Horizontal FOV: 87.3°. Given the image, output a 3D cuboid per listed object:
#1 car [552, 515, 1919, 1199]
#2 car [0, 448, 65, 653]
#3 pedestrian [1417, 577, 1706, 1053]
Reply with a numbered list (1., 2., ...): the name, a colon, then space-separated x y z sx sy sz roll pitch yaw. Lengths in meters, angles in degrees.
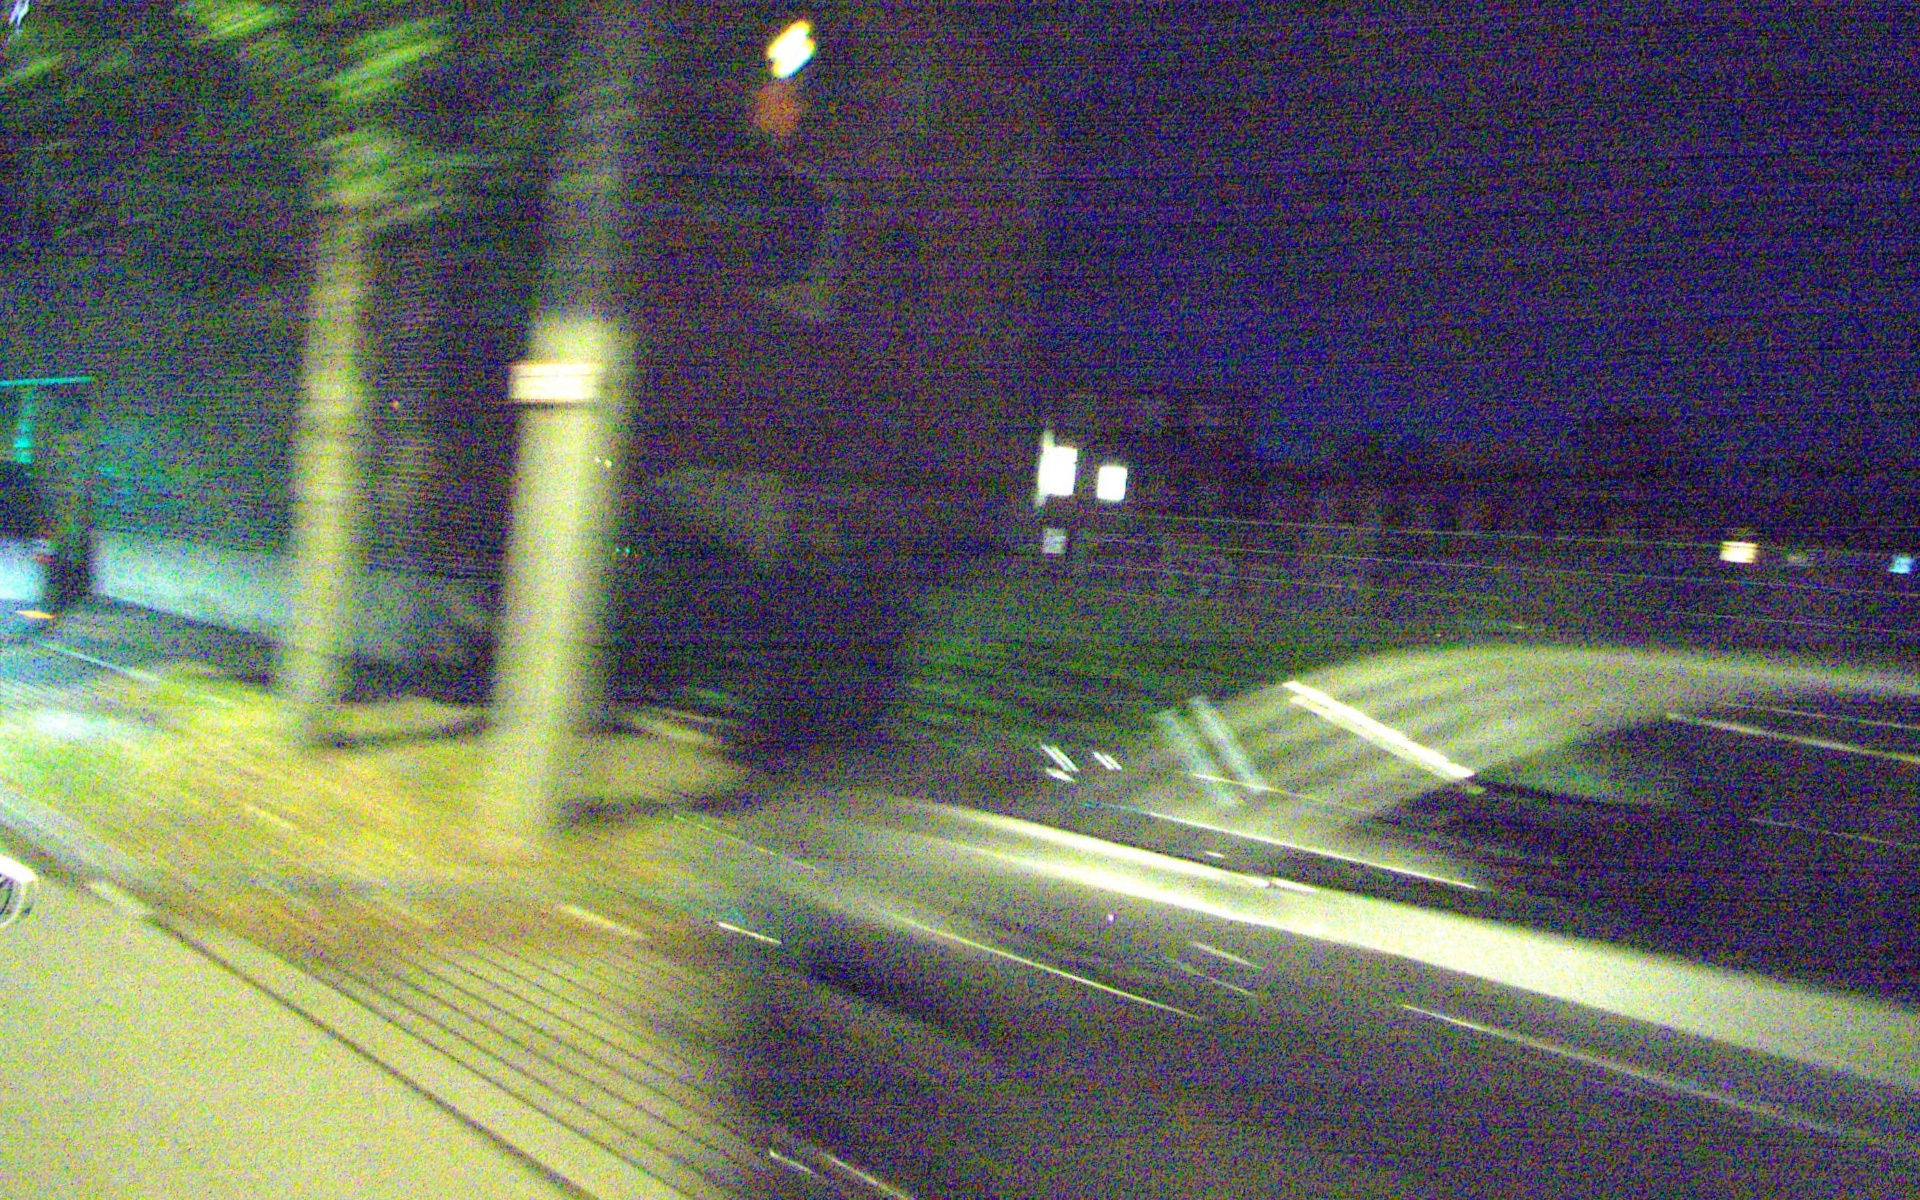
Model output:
1. car: 1.312 0.856 2.166 4.138 1.625 1.854 7 2 31
2. car: -10.602 -0.667 9.586 4.204 1.830 1.773 7 2 29
3. pedestrian: 2.536 0.826 4.298 0.808 1.744 0.705 7 2 32
